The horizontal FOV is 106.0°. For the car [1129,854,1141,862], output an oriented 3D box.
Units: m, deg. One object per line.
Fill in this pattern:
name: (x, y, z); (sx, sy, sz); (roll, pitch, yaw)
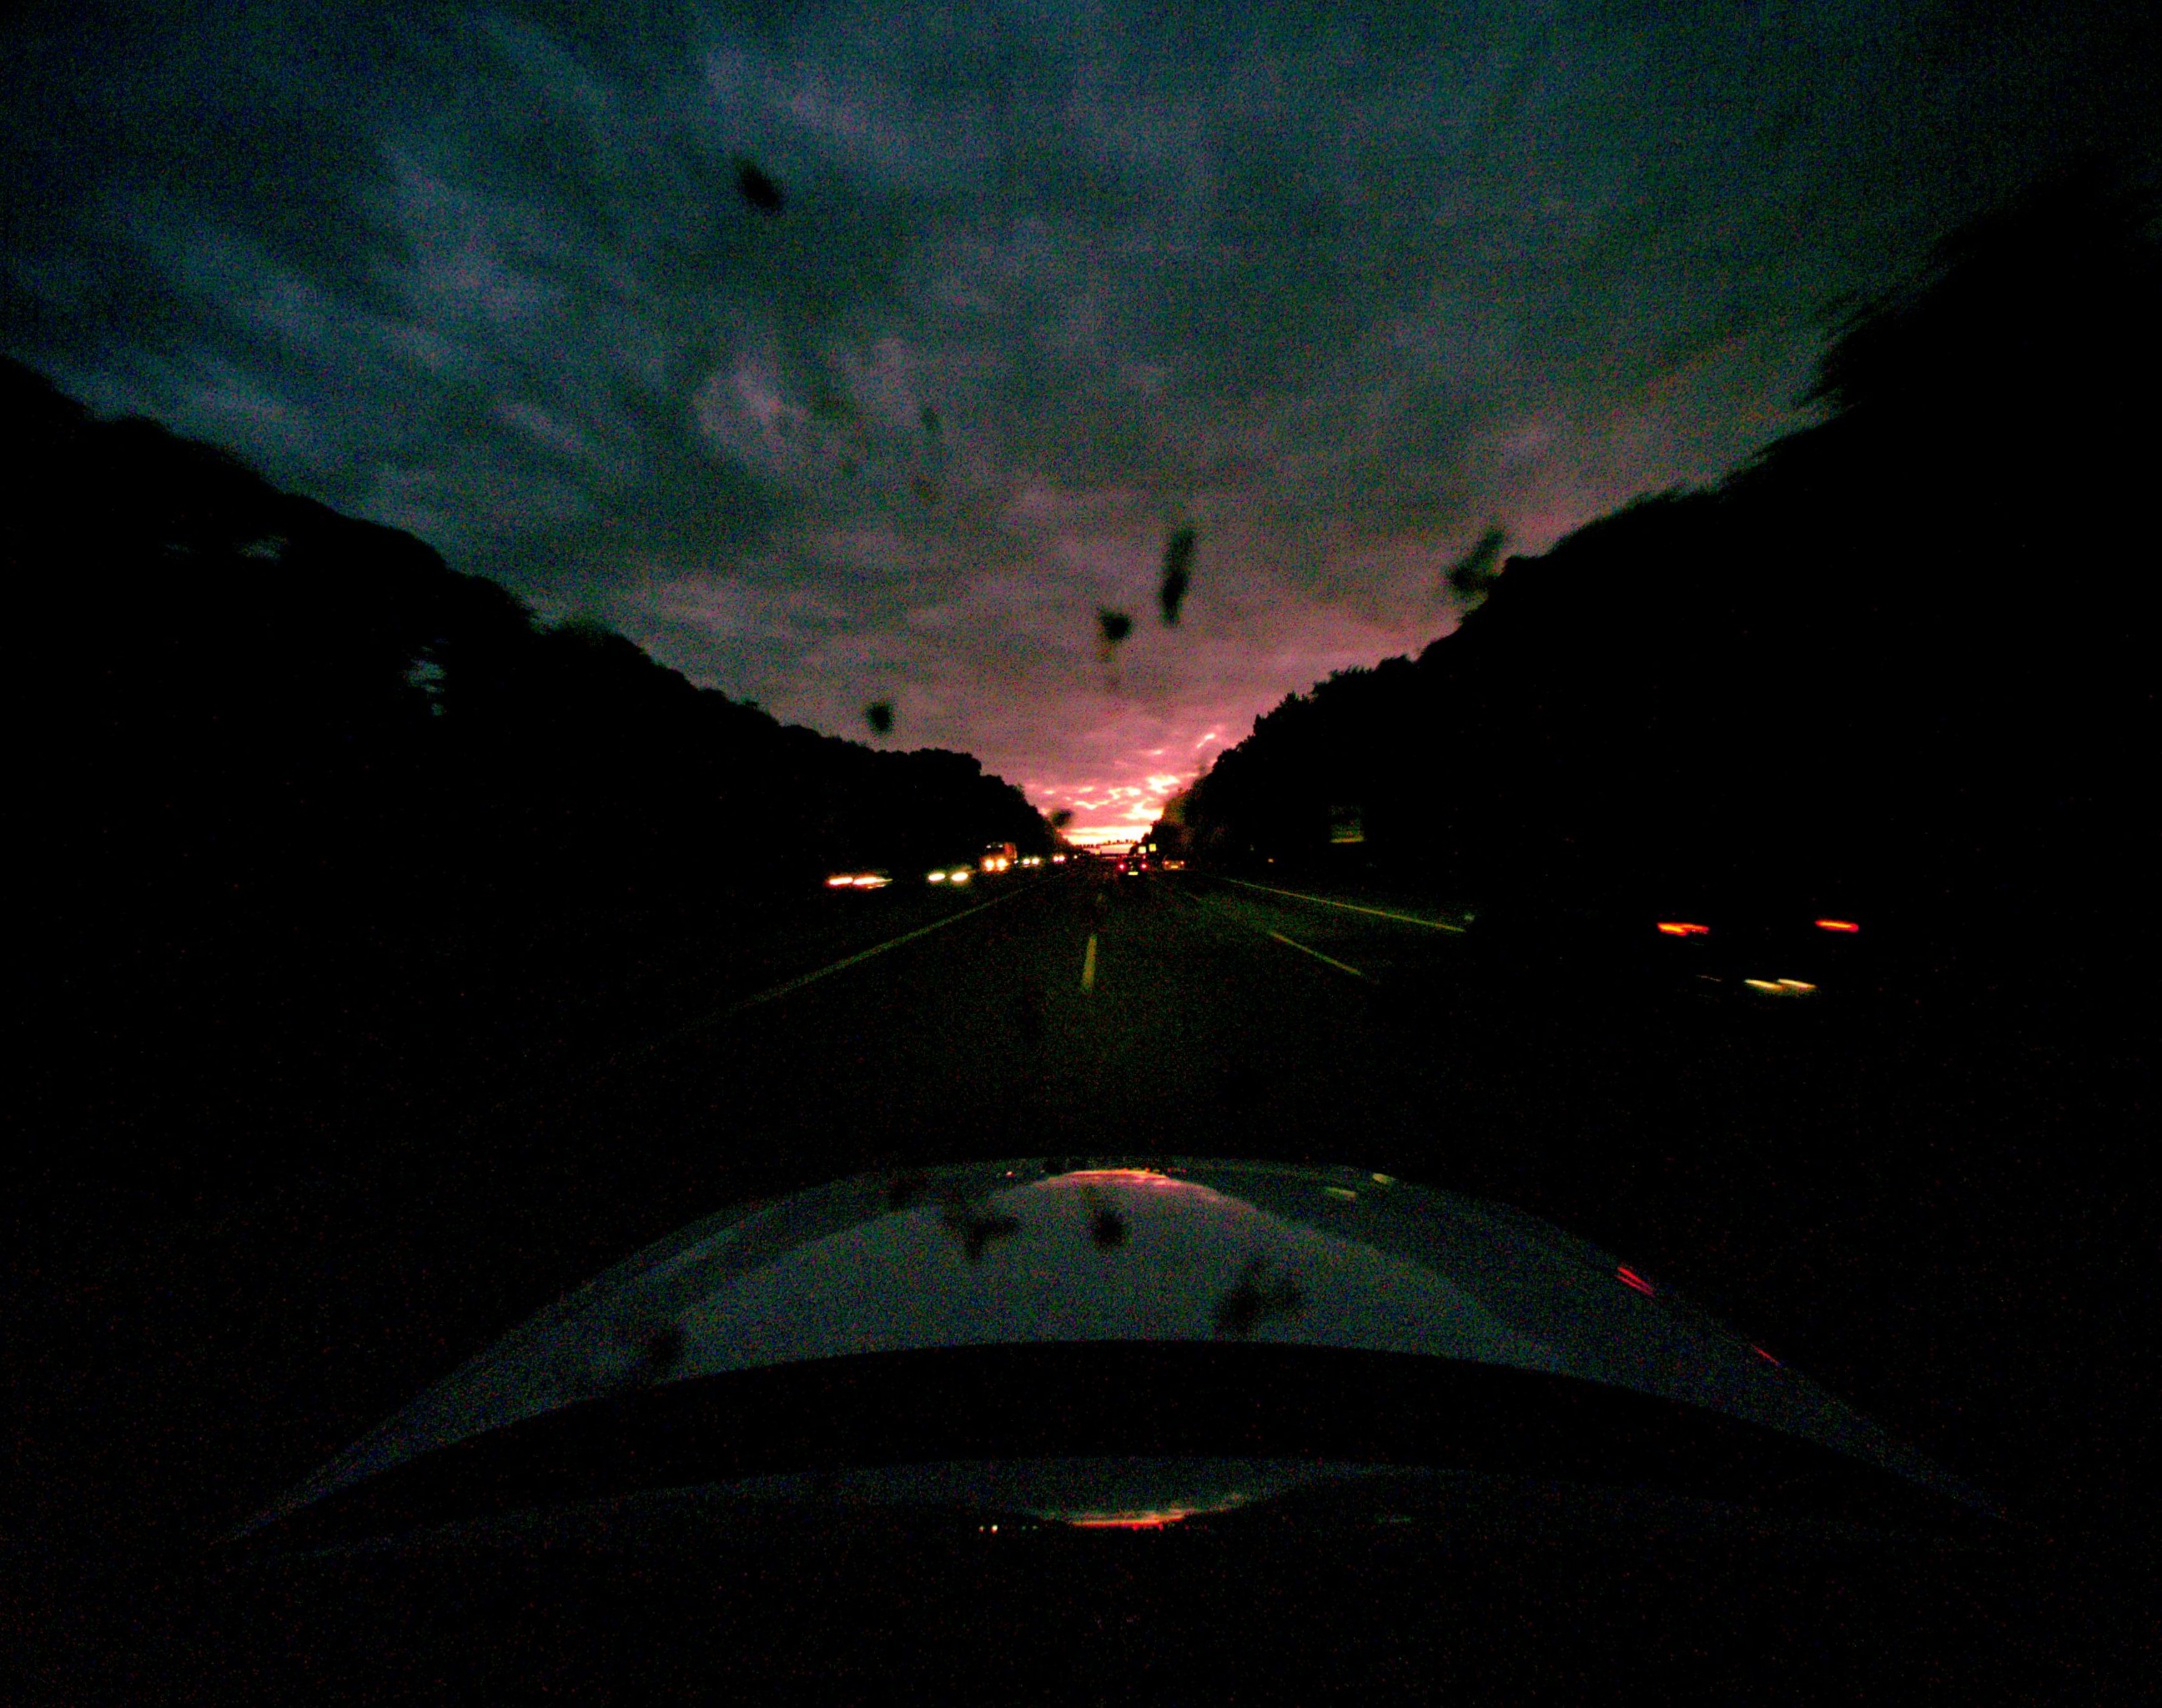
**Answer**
car: (10.394, 0.712, 156.500); (1.860, 1.494, 4.394); (0, -1, -2)

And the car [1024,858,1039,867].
car: (-8.329, 1.463, 137.446); (1.902, 1.451, 5.358); (-2, 0, 3)

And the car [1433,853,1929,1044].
car: (5.520, 0.735, 8.449); (1.858, 1.436, 4.585); (0, -1, 1)

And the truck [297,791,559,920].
truck: (-23.485, 0.094, 30.037); (3.178, 4.105, 7.695); (-1, -1, 3)

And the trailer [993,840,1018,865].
trailer: (-12.519, -0.188, 135.714); (2.636, 3.930, 10.192); (-2, 0, 3)

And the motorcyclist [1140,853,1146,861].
motorcyclist: (9.415, 0.461, 124.073); (0.826, 1.291, 1.190); (-2, -1, 2)

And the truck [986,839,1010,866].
truck: (-12.932, -0.189, 127.077); (2.636, 3.971, 7.126); (-2, 0, 3)

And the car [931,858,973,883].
car: (-7.937, 0.984, 50.563); (1.844, 1.381, 4.644); (-1, 0, 0)

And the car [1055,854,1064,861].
car: (-5.581, 0.877, 209.370); (1.874, 1.574, 4.656); (-2, 0, 2)

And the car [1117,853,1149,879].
car: (3.048, 0.724, 48.349); (1.698, 1.509, 4.232); (0, -1, 1)

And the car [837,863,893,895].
car: (-11.469, 1.287, 43.553); (1.680, 1.515, 4.416); (-1, 0, 2)

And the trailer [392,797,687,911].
trailer: (-23.128, 0.073, 36.694); (3.177, 4.105, 14.194); (-1, -1, 3)

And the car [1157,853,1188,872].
car: (7.363, 0.682, 65.790); (1.821, 1.476, 4.394); (0, -1, -2)
